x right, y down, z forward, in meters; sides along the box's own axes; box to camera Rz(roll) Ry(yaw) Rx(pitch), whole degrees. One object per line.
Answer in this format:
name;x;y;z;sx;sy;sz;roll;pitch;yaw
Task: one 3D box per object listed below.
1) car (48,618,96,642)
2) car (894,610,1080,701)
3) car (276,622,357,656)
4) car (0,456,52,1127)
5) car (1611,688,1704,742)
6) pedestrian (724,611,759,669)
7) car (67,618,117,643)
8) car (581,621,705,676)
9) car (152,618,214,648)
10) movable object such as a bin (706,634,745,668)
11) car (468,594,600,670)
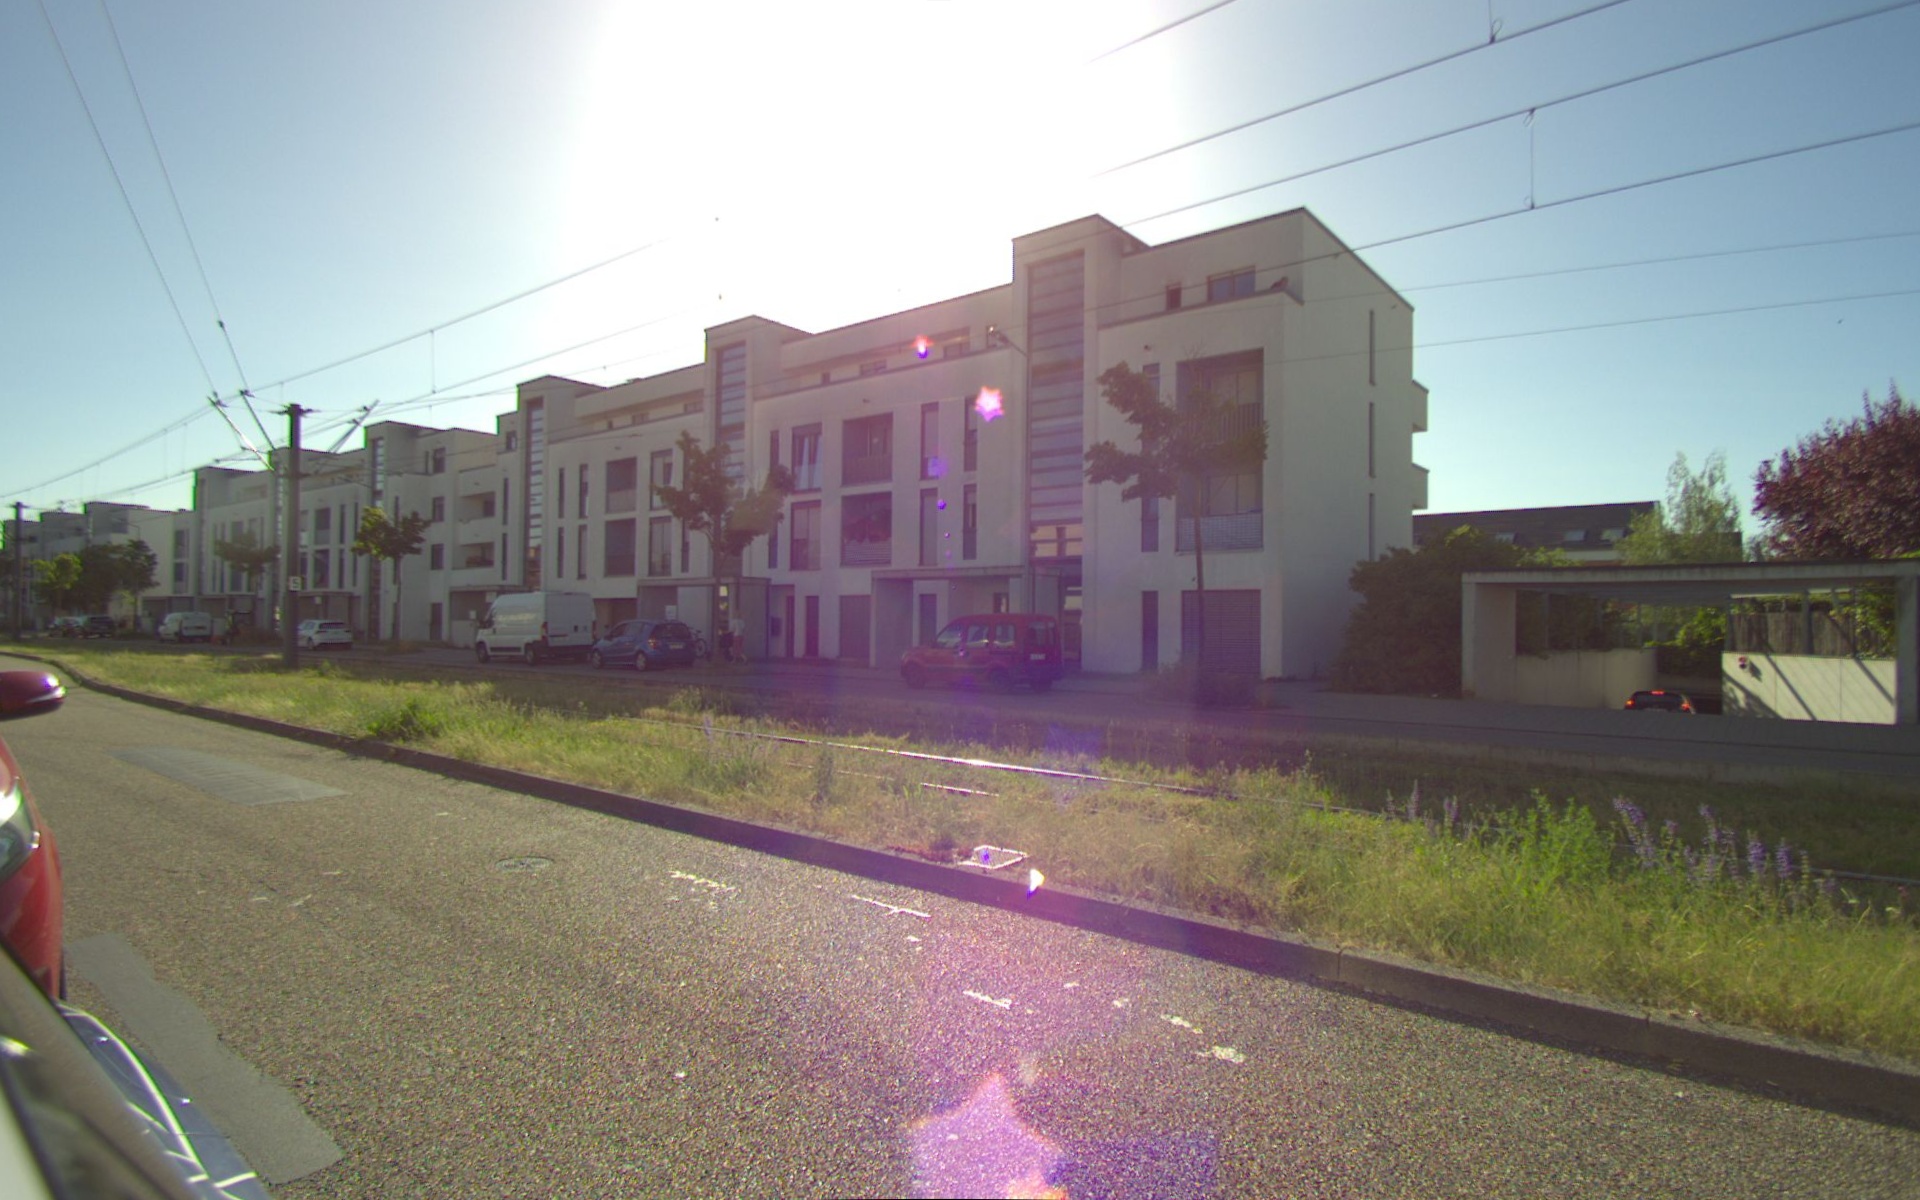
car;-67.504;2.267;76.924;4.277;1.693;1.900;-1;0;37
car;0.555;1.174;23.011;3.895;1.842;1.972;-1;0;43
car;-31.118;1.847;48.892;4.277;1.517;1.900;-1;0;37
car;-4.899;0.561;3.684;4.505;1.868;1.850;-1;0;41
car;19.870;3.301;28.788;1.577;1.337;3.942;-2;-7;44
pedestrian;-6.970;1.265;32.357;0.785;1.836;0.766;-1;0;41
car;-62.959;2.176;73.399;4.277;1.693;1.900;-1;0;37
car;-9.983;1.455;31.732;3.833;1.556;1.973;-1;0;40
car;-47.338;1.972;61.618;4.277;1.693;1.900;-1;0;37
movable object such as a bin;-7.651;1.658;32.998;1.083;1.062;0.719;-1;0;42
car;-15.178;1.082;35.937;5.193;2.491;2.197;-1;0;40
